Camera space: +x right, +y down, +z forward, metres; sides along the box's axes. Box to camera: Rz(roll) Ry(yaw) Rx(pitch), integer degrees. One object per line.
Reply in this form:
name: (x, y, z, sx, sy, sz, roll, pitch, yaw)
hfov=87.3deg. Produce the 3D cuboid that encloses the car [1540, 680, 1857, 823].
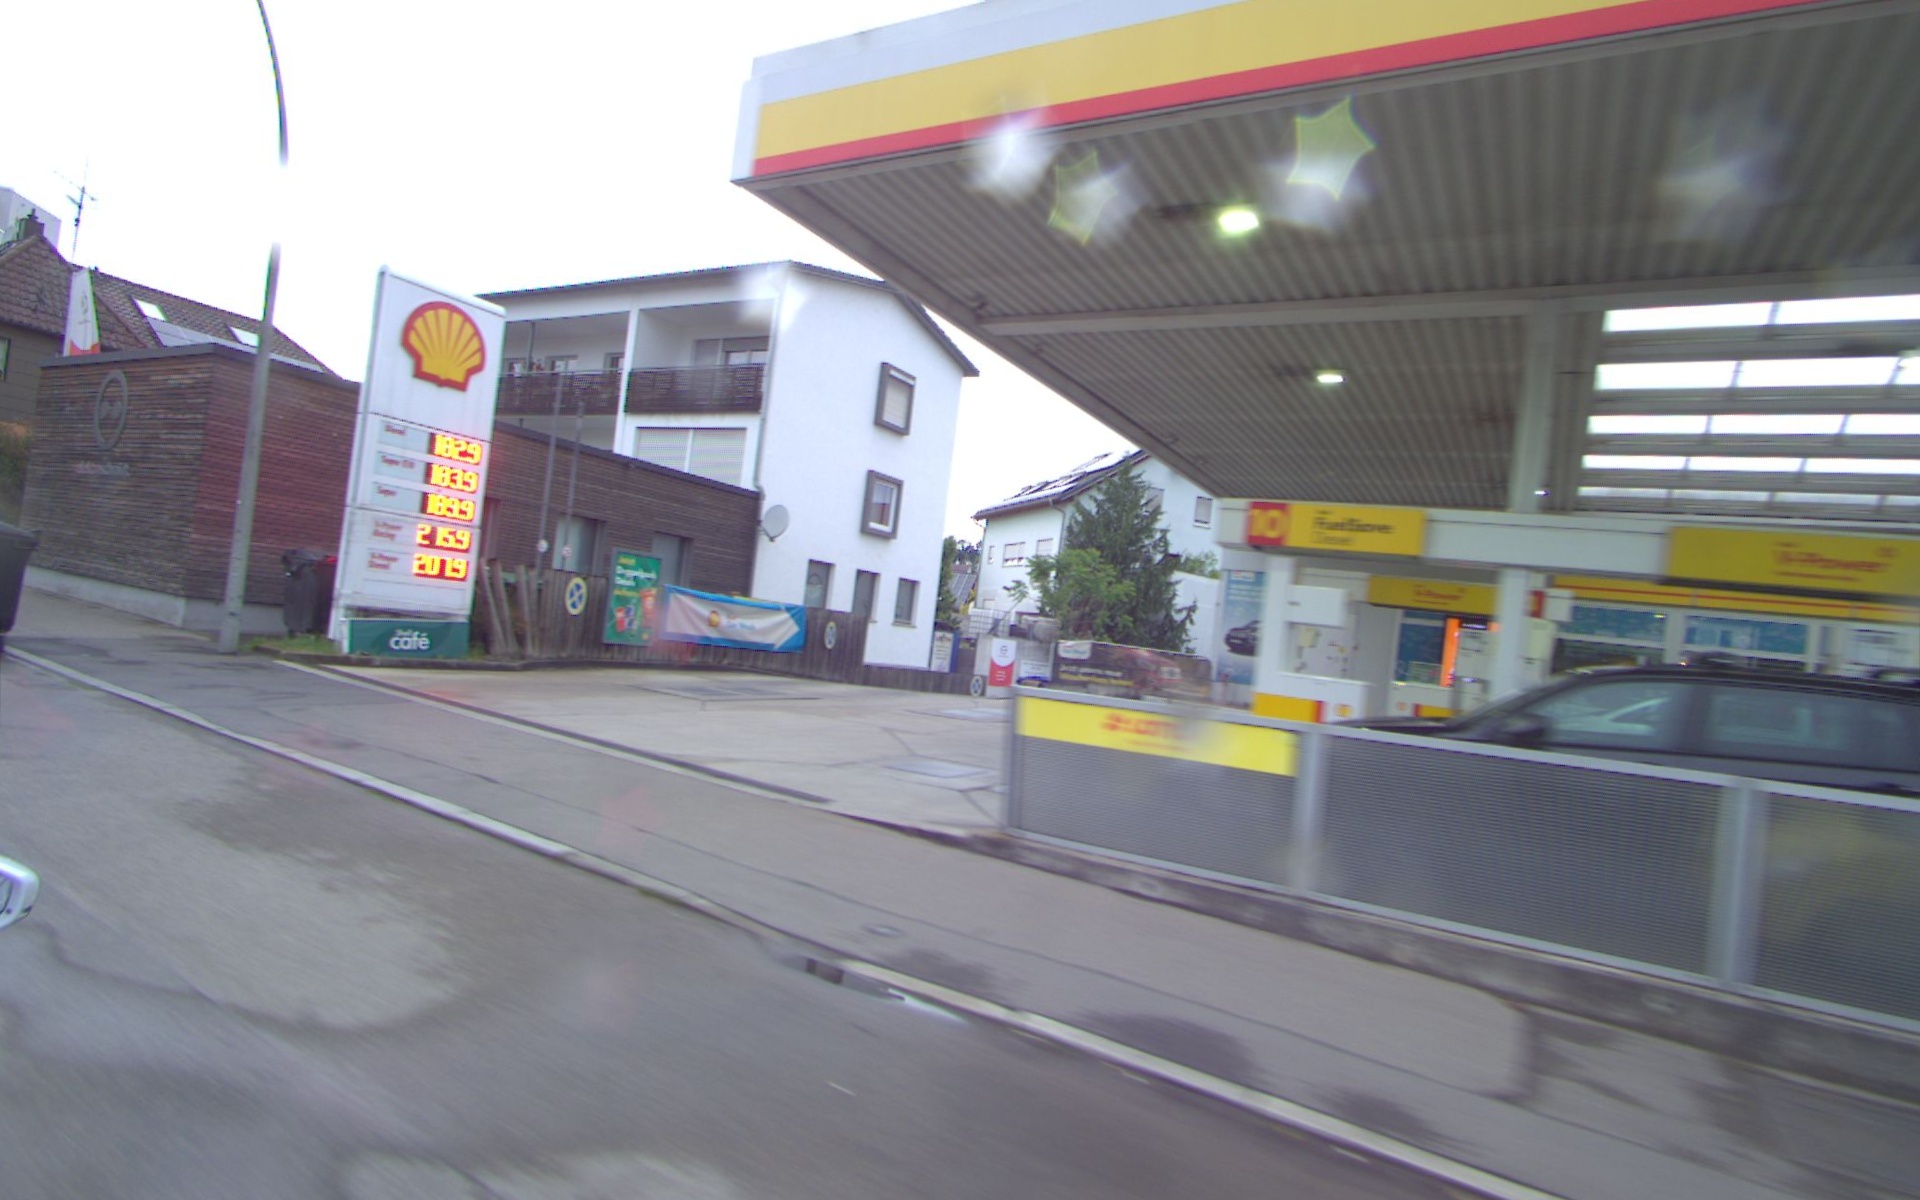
car: (11.348, 2.284, 15.823, 3.717, 1.483, 1.743, 7, -1, 31)

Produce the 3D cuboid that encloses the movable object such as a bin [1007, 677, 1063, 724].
movable object such as a bin: (2.283, 3.068, 30.665, 1.067, 1.256, 1.210, 7, 0, 43)

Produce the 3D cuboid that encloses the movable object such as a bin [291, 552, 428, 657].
movable object such as a bin: (-8.964, 0.075, 15.033, 1.361, 1.355, 1.104, 7, -1, 30)

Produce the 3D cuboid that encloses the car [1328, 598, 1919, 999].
car: (4.651, 1.151, 6.437, 3.931, 1.780, 1.823, 7, -1, 29)

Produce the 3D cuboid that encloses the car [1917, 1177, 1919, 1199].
car: (3.693, 1.288, 0.920, 3.738, 1.418, 1.659, 7, -2, 31)

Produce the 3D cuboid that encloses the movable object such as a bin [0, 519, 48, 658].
movable object such as a bin: (-10.644, -0.210, 10.521, 1.478, 1.405, 1.129, 7, -1, 30)

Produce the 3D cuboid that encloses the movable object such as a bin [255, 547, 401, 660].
movable object such as a bin: (-8.835, 0.055, 14.086, 1.361, 1.355, 1.104, 7, -1, 30)
